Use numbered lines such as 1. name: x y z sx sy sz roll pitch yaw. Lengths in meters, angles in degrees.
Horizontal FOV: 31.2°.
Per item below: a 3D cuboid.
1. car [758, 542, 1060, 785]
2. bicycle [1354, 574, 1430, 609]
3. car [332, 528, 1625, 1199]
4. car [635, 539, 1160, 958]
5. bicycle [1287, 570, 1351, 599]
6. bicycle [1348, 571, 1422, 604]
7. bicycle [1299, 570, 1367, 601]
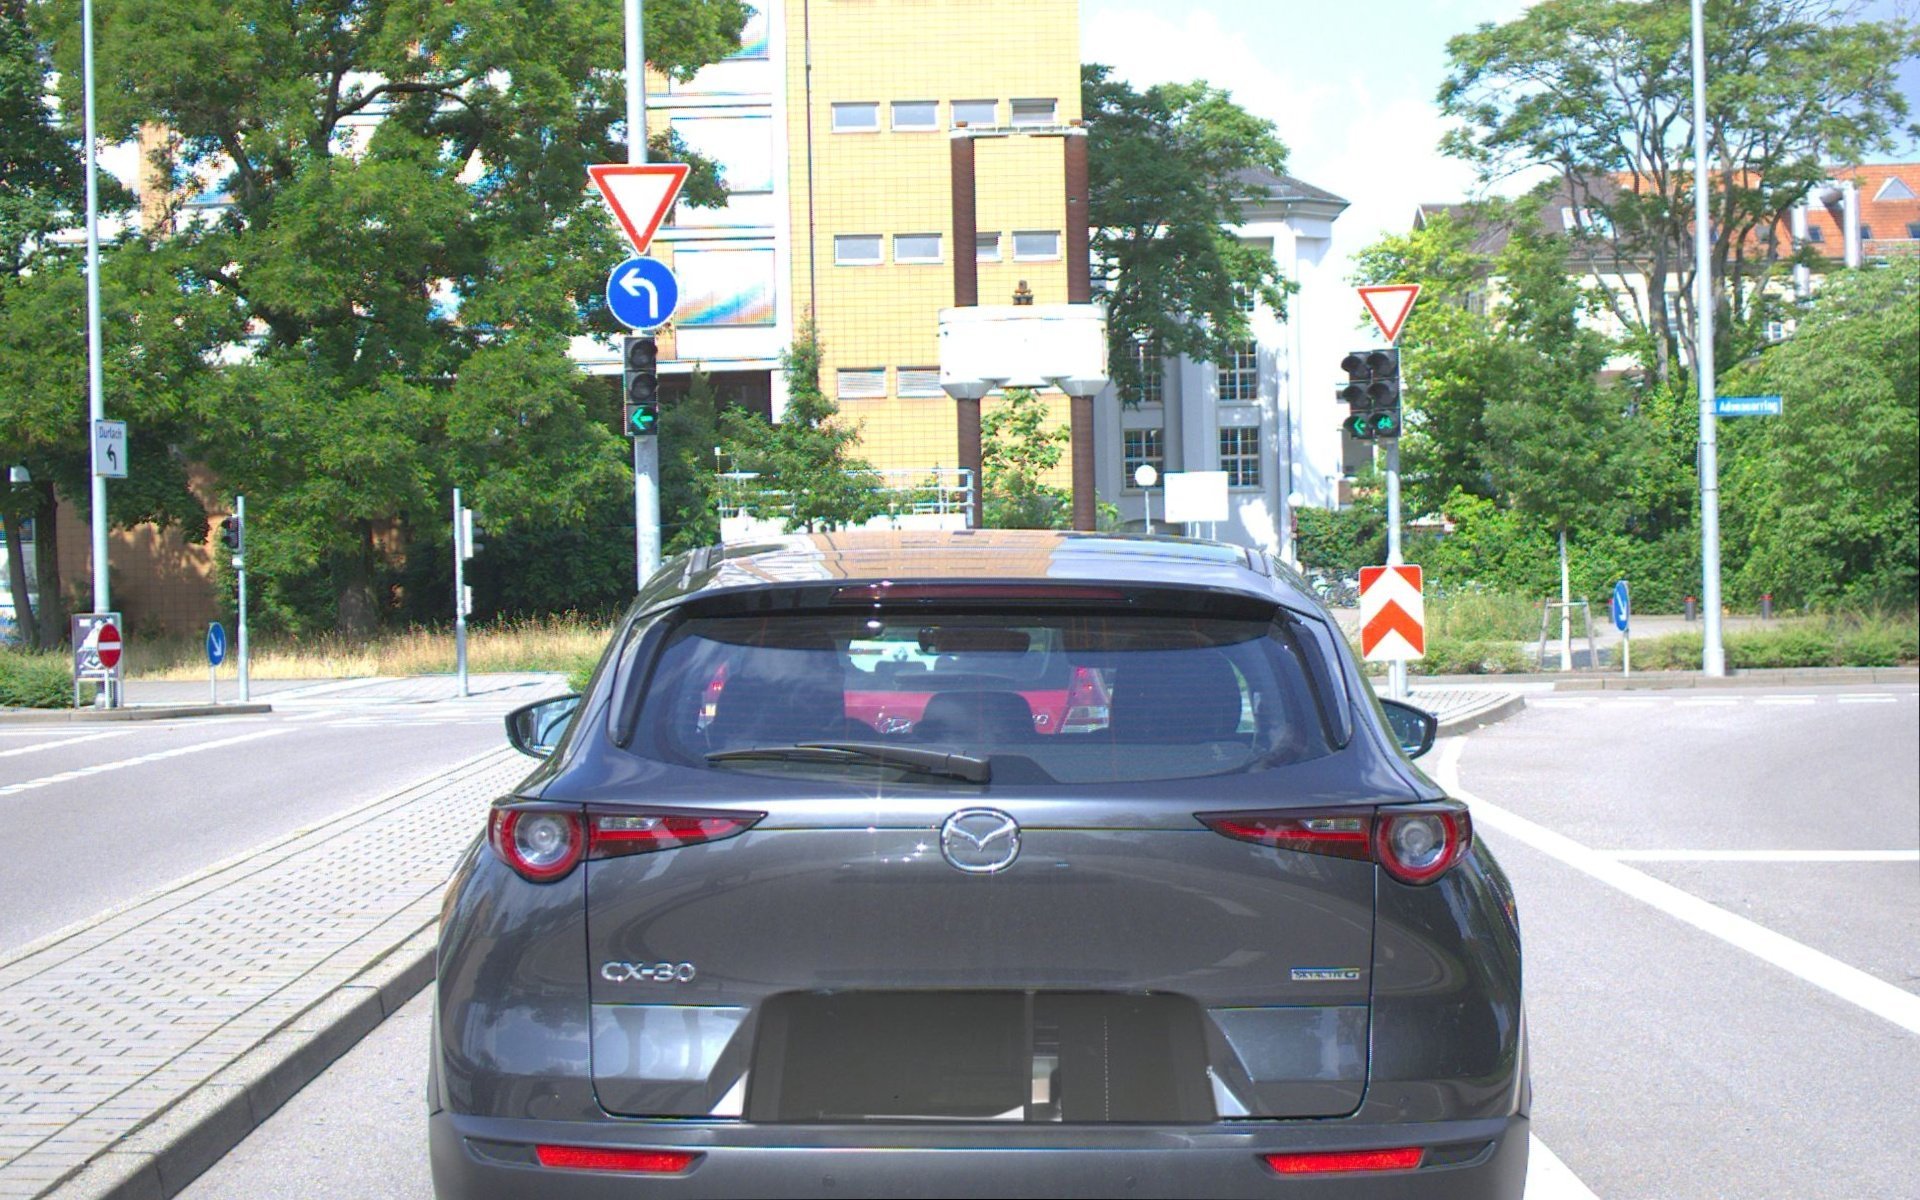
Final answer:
1. car: -0.294 0.375 23.627 1.848 1.467 4.335 -2 1 1
2. bicycle: 12.359 -0.246 98.359 2.055 0.933 0.804 -1 0 -1
3. car: -0.003 0.641 6.960 1.806 1.503 4.205 1 1 -1
4. car: -0.165 0.511 14.059 1.816 1.434 4.067 1 0 2
5. bicycle: 12.053 -0.515 115.411 2.055 0.933 0.804 -1 0 -1
6. bicycle: 12.654 -0.377 102.357 2.055 0.933 0.804 -1 0 -1
7. bicycle: 11.991 -0.466 110.552 2.055 0.933 0.804 -1 0 -1
